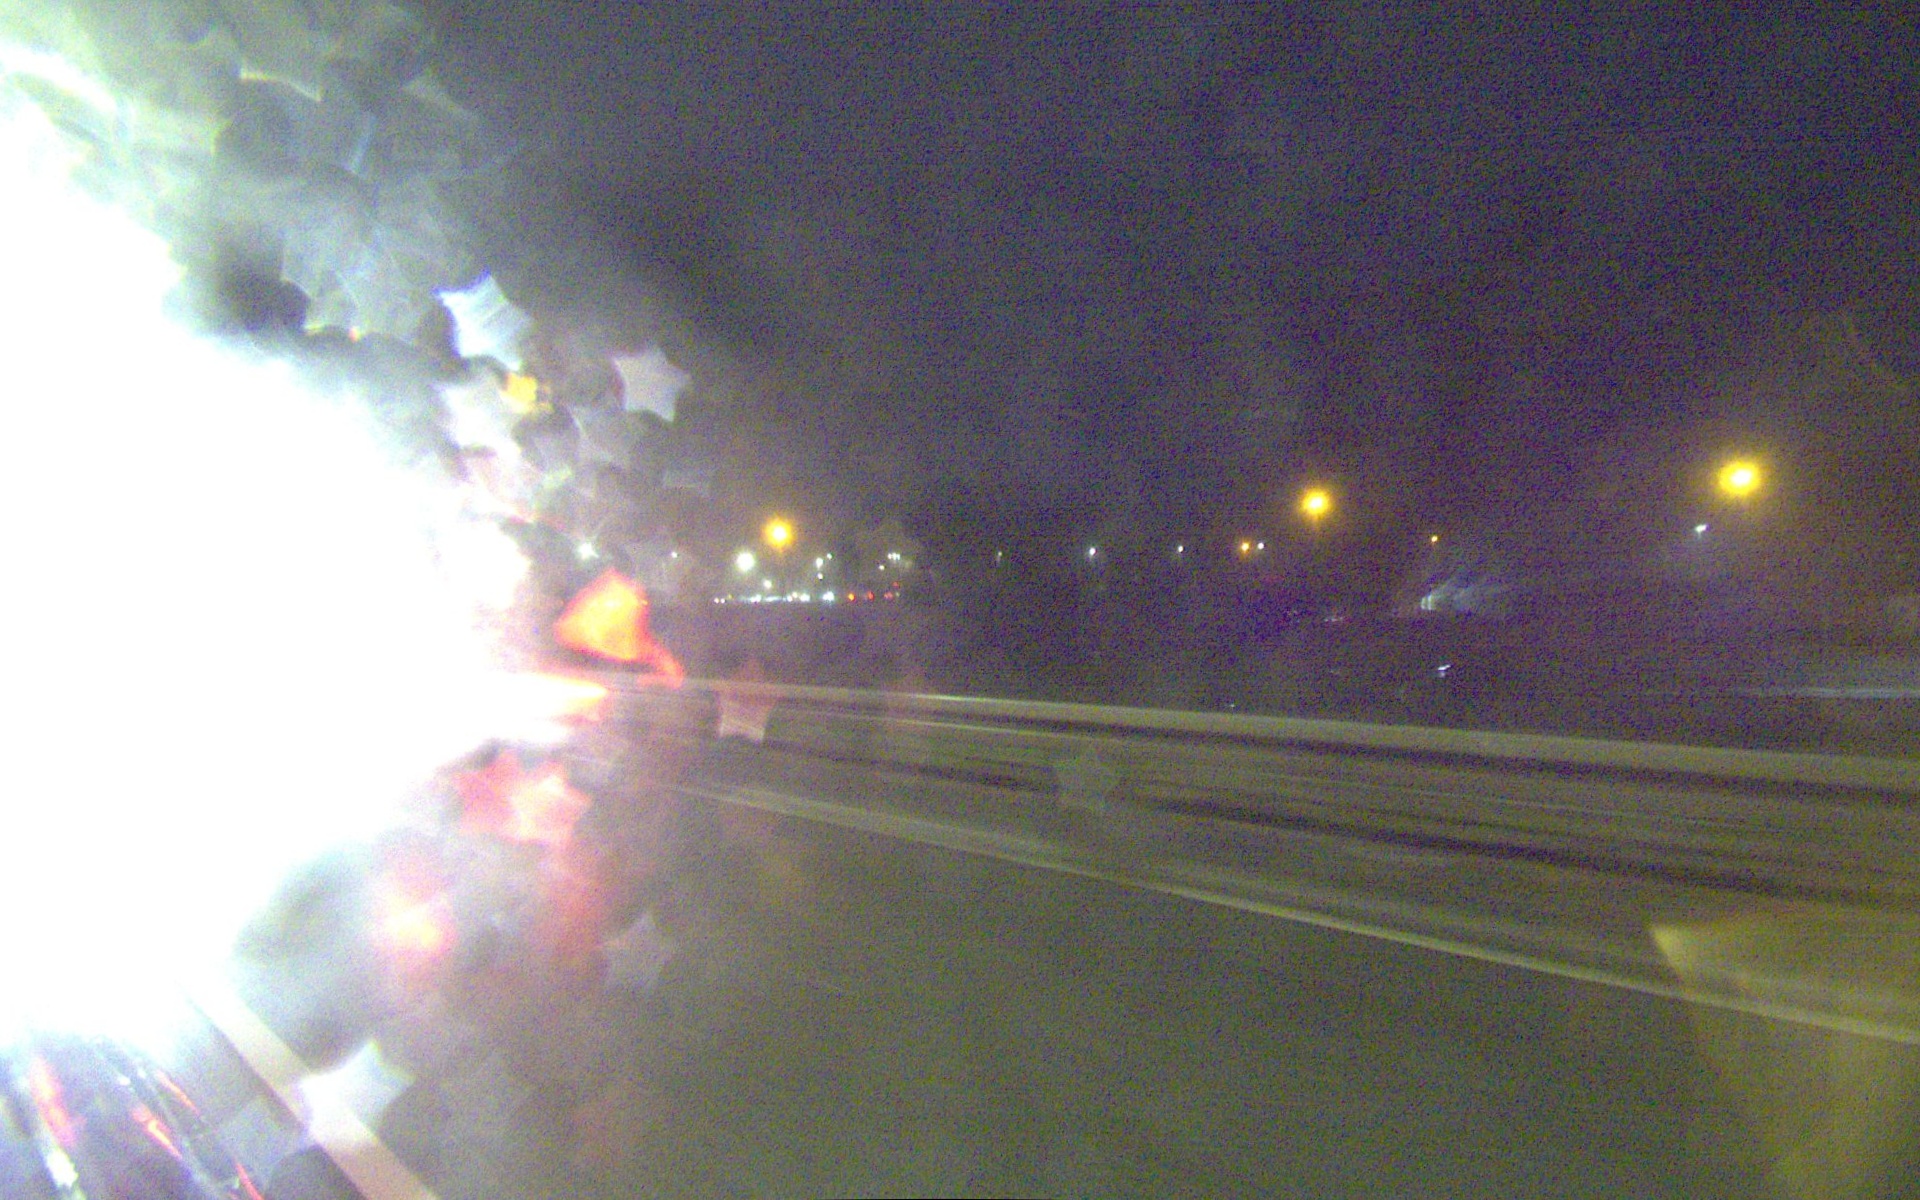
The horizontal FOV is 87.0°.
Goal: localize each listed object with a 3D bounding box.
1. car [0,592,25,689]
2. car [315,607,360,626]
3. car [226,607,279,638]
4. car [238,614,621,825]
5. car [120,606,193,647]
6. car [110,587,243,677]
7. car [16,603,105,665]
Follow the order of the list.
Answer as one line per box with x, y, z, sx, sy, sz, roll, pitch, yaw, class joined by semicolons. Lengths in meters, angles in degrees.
-20.651;0.843;20.701;1.907;1.887;4.008;-1;0;-38;car
-51.659;1.388;84.035;1.967;1.495;4.010;-1;0;-12;car
-46.150;1.448;66.081;1.965;1.949;4.013;-1;0;-23;car
-4.764;0.853;8.857;3.861;1.415;1.711;-1;-1;42;car
-40.793;1.302;51.480;1.965;1.949;4.013;-1;0;-25;car
-19.898;0.745;25.711;2.418;2.003;5.504;-1;0;-38;car
-30.768;1.141;34.724;1.968;1.949;4.008;-1;0;-38;car
